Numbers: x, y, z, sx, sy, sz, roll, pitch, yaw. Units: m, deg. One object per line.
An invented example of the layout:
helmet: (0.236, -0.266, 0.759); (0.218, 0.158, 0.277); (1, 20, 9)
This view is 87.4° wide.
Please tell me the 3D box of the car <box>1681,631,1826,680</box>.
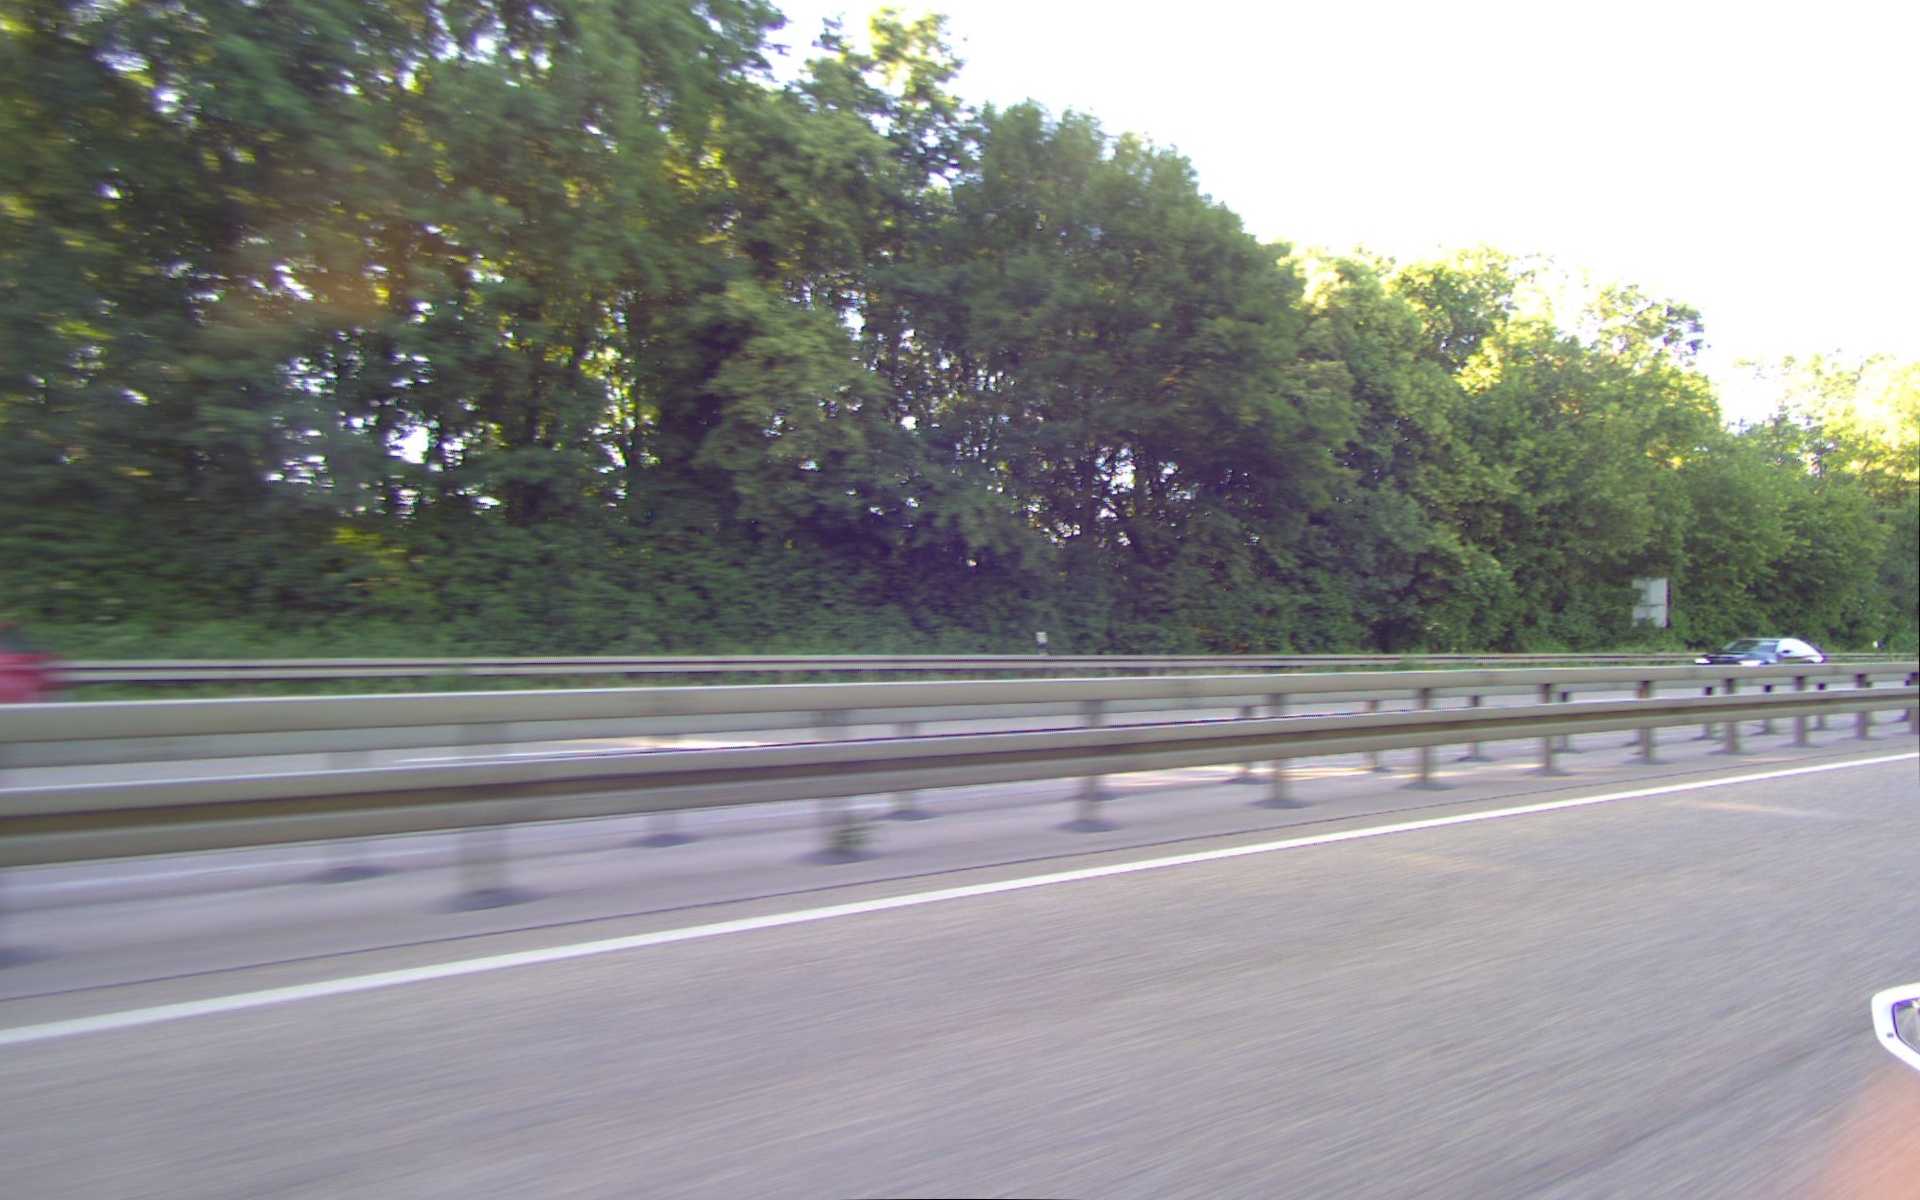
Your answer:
car: (25.752, 1.794, 32.570); (4.843, 1.483, 1.985); (2, -3, -29)

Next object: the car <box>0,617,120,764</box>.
car: (-11.427, 0.917, 10.291); (3.952, 1.483, 1.985); (2, -3, -29)
